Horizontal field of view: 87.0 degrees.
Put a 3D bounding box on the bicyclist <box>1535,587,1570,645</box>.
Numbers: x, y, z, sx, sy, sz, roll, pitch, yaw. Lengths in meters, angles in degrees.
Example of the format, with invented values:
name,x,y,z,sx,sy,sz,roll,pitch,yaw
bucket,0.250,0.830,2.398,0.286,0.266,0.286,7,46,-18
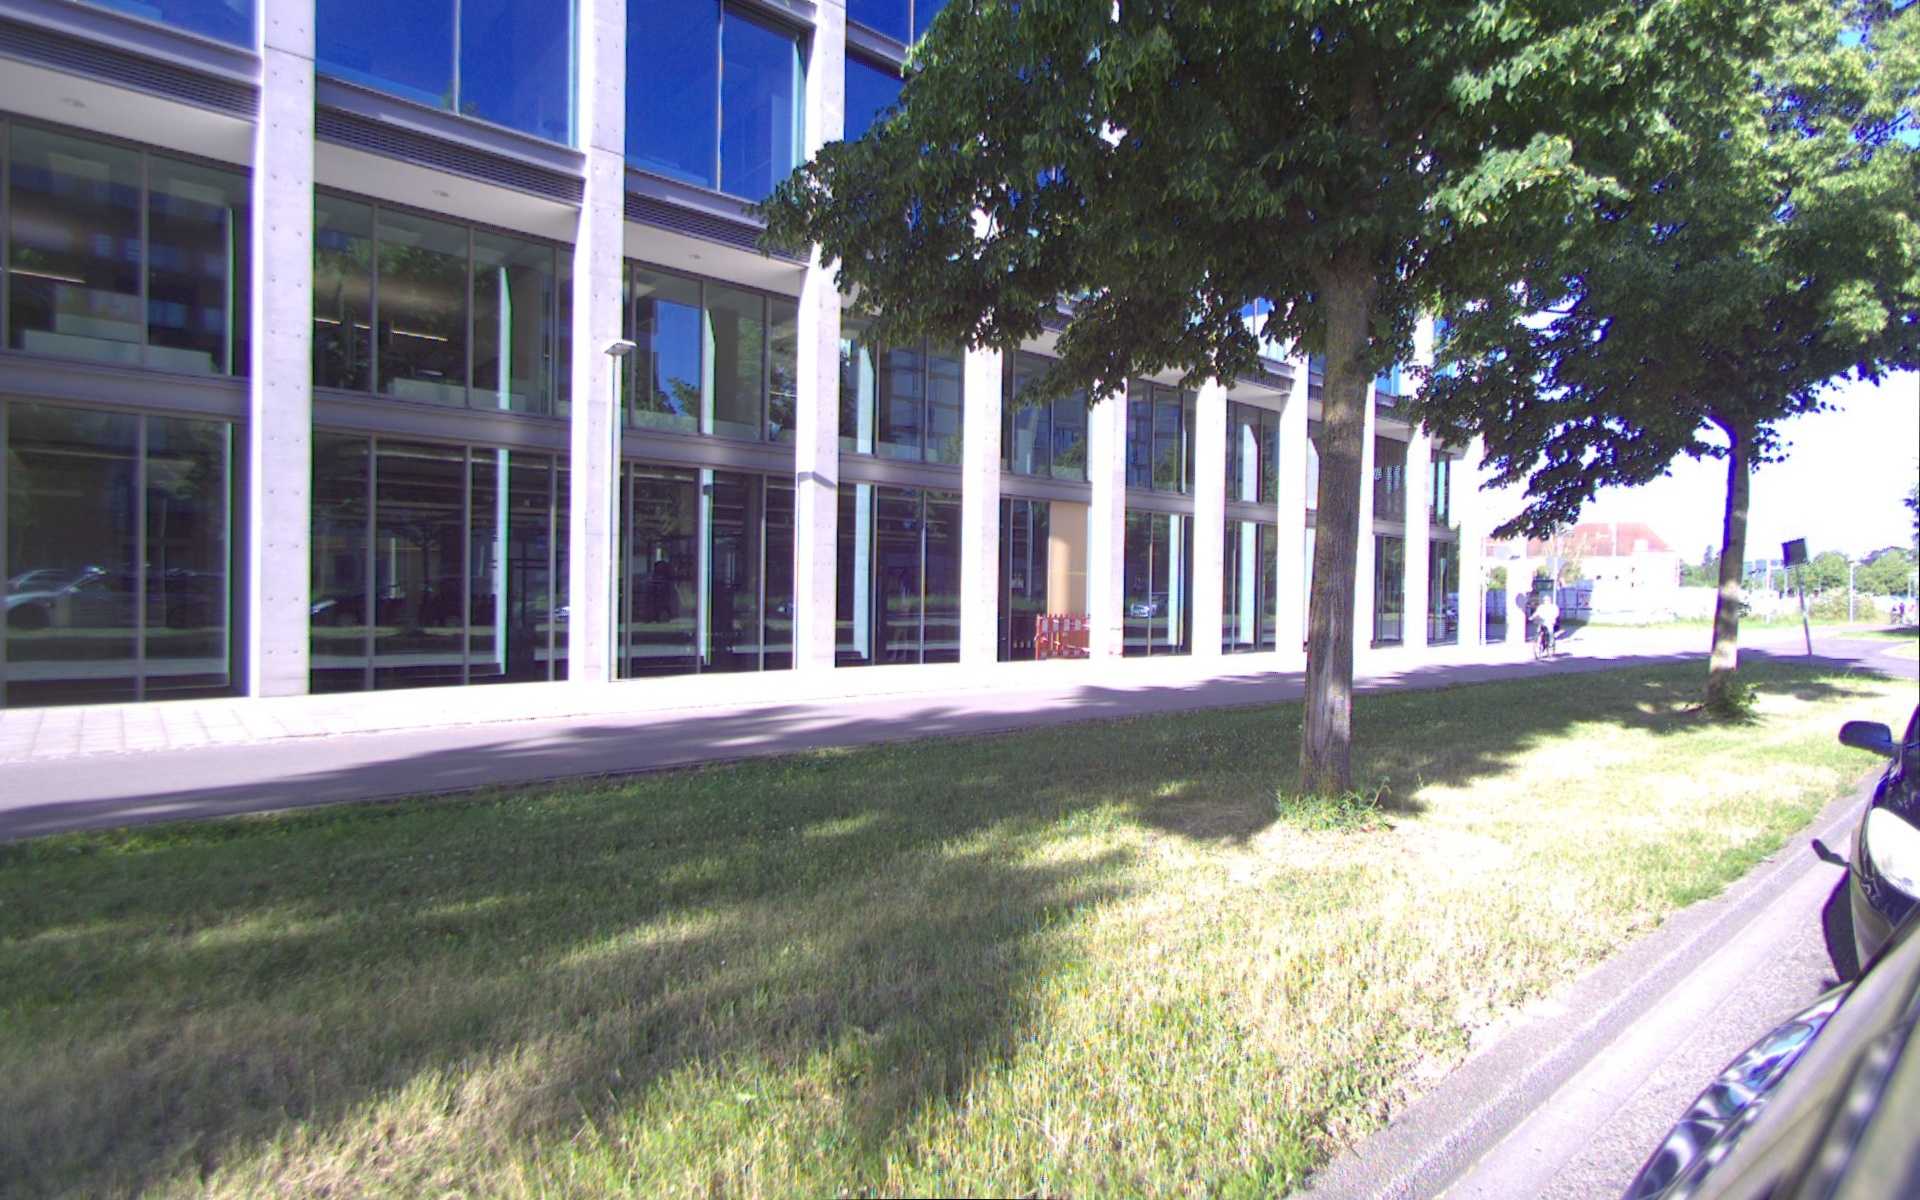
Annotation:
name,x,y,z,sx,sy,sz,roll,pitch,yaw
bicyclist,16.295,0.439,27.841,0.688,1.558,0.590,1,2,-44

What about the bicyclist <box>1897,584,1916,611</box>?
name,x,y,z,sx,sy,sz,roll,pitch,yaw
bicyclist,73.080,-0.202,78.165,1.101,2.082,0.930,0,0,-41

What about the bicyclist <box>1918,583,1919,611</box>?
name,x,y,z,sx,sy,sz,roll,pitch,yaw
bicyclist,73.988,-0.229,77.409,1.101,2.082,0.930,0,0,-41

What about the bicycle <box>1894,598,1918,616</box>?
name,x,y,z,sx,sy,sz,roll,pitch,yaw
bicycle,73.052,0.530,78.160,3.930,1.380,0.930,0,1,-41

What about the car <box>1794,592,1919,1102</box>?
name,x,y,z,sx,sy,sz,roll,pitch,yaw
car,4.901,0.737,3.944,4.403,1.500,1.845,0,1,-41

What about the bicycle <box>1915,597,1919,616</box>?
name,x,y,z,sx,sy,sz,roll,pitch,yaw
bicycle,74.045,0.503,77.466,3.930,1.380,0.930,0,1,-41

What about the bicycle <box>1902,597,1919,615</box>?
name,x,y,z,sx,sy,sz,roll,pitch,yaw
bicycle,76.304,0.495,80.990,3.930,1.380,0.930,0,1,-41

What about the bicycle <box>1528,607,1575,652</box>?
name,x,y,z,sx,sy,sz,roll,pitch,yaw
bicycle,16.282,0.805,27.855,1.896,1.170,0.590,1,2,-44

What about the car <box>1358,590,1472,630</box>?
name,x,y,z,sx,sy,sz,roll,pitch,yaw
car,19.503,0.394,43.494,1.963,1.598,3.997,0,1,-38
